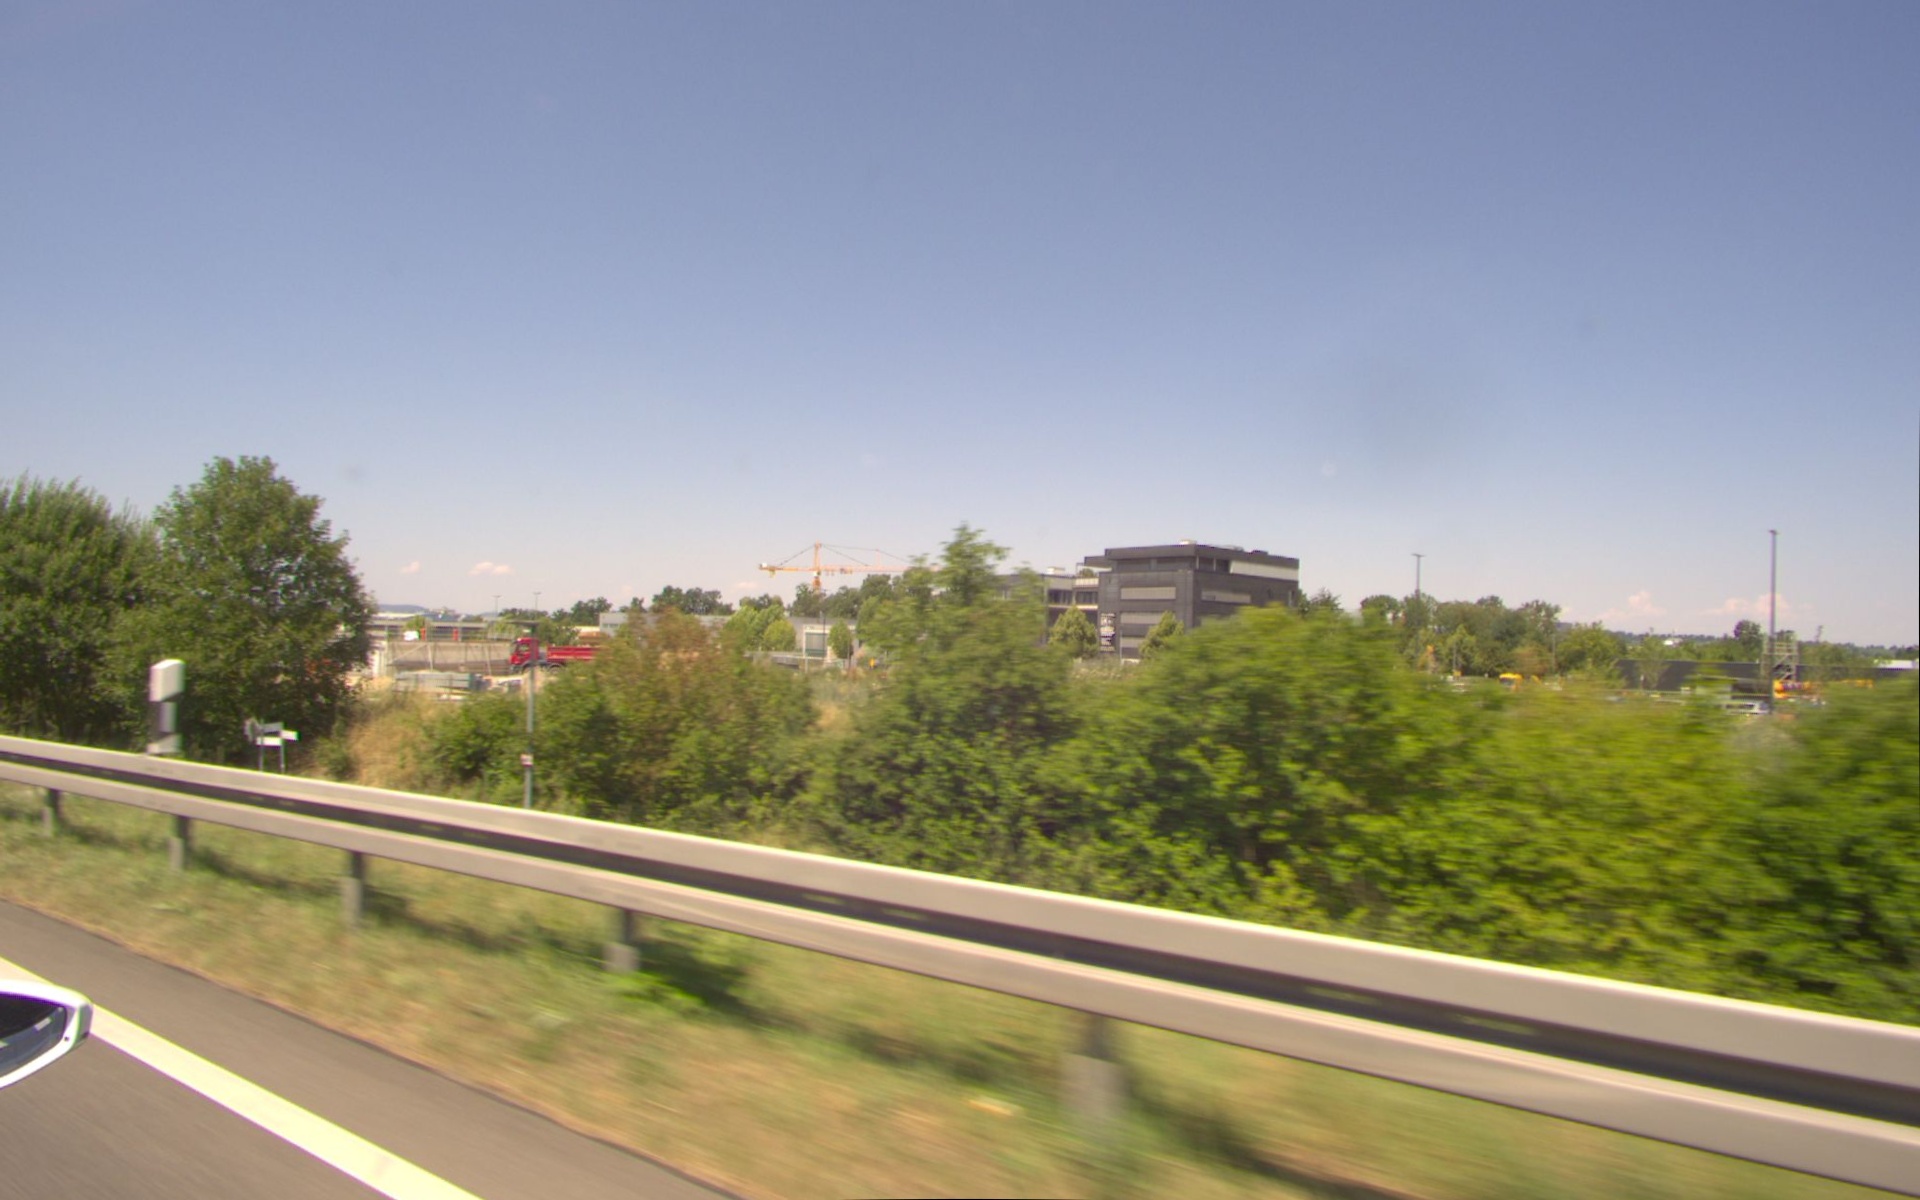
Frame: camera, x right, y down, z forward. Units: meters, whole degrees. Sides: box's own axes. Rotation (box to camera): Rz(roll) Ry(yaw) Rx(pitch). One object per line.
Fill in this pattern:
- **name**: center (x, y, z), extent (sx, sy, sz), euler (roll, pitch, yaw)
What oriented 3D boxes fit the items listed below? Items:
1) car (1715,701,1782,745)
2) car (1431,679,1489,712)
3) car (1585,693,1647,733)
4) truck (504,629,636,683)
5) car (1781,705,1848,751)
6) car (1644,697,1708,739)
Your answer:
- **car**: center (41.378, 6.407, 52.510), extent (3.958, 2.039, 1.983), euler (4, -3, -40)
- **car**: center (32.130, 6.093, 64.288), extent (3.960, 1.939, 1.982), euler (5, -3, -41)
- **car**: center (37.315, 6.400, 56.931), extent (3.960, 2.039, 1.982), euler (5, -3, -41)
- **truck**: center (-30.177, 4.339, 77.802), extent (9.266, 3.730, 3.122), euler (4, -2, -22)
- **car**: center (43.124, 6.406, 50.509), extent (3.960, 2.039, 1.982), euler (5, -3, -41)
- **car**: center (39.202, 6.400, 54.792), extent (3.960, 2.039, 1.982), euler (5, -3, -41)
